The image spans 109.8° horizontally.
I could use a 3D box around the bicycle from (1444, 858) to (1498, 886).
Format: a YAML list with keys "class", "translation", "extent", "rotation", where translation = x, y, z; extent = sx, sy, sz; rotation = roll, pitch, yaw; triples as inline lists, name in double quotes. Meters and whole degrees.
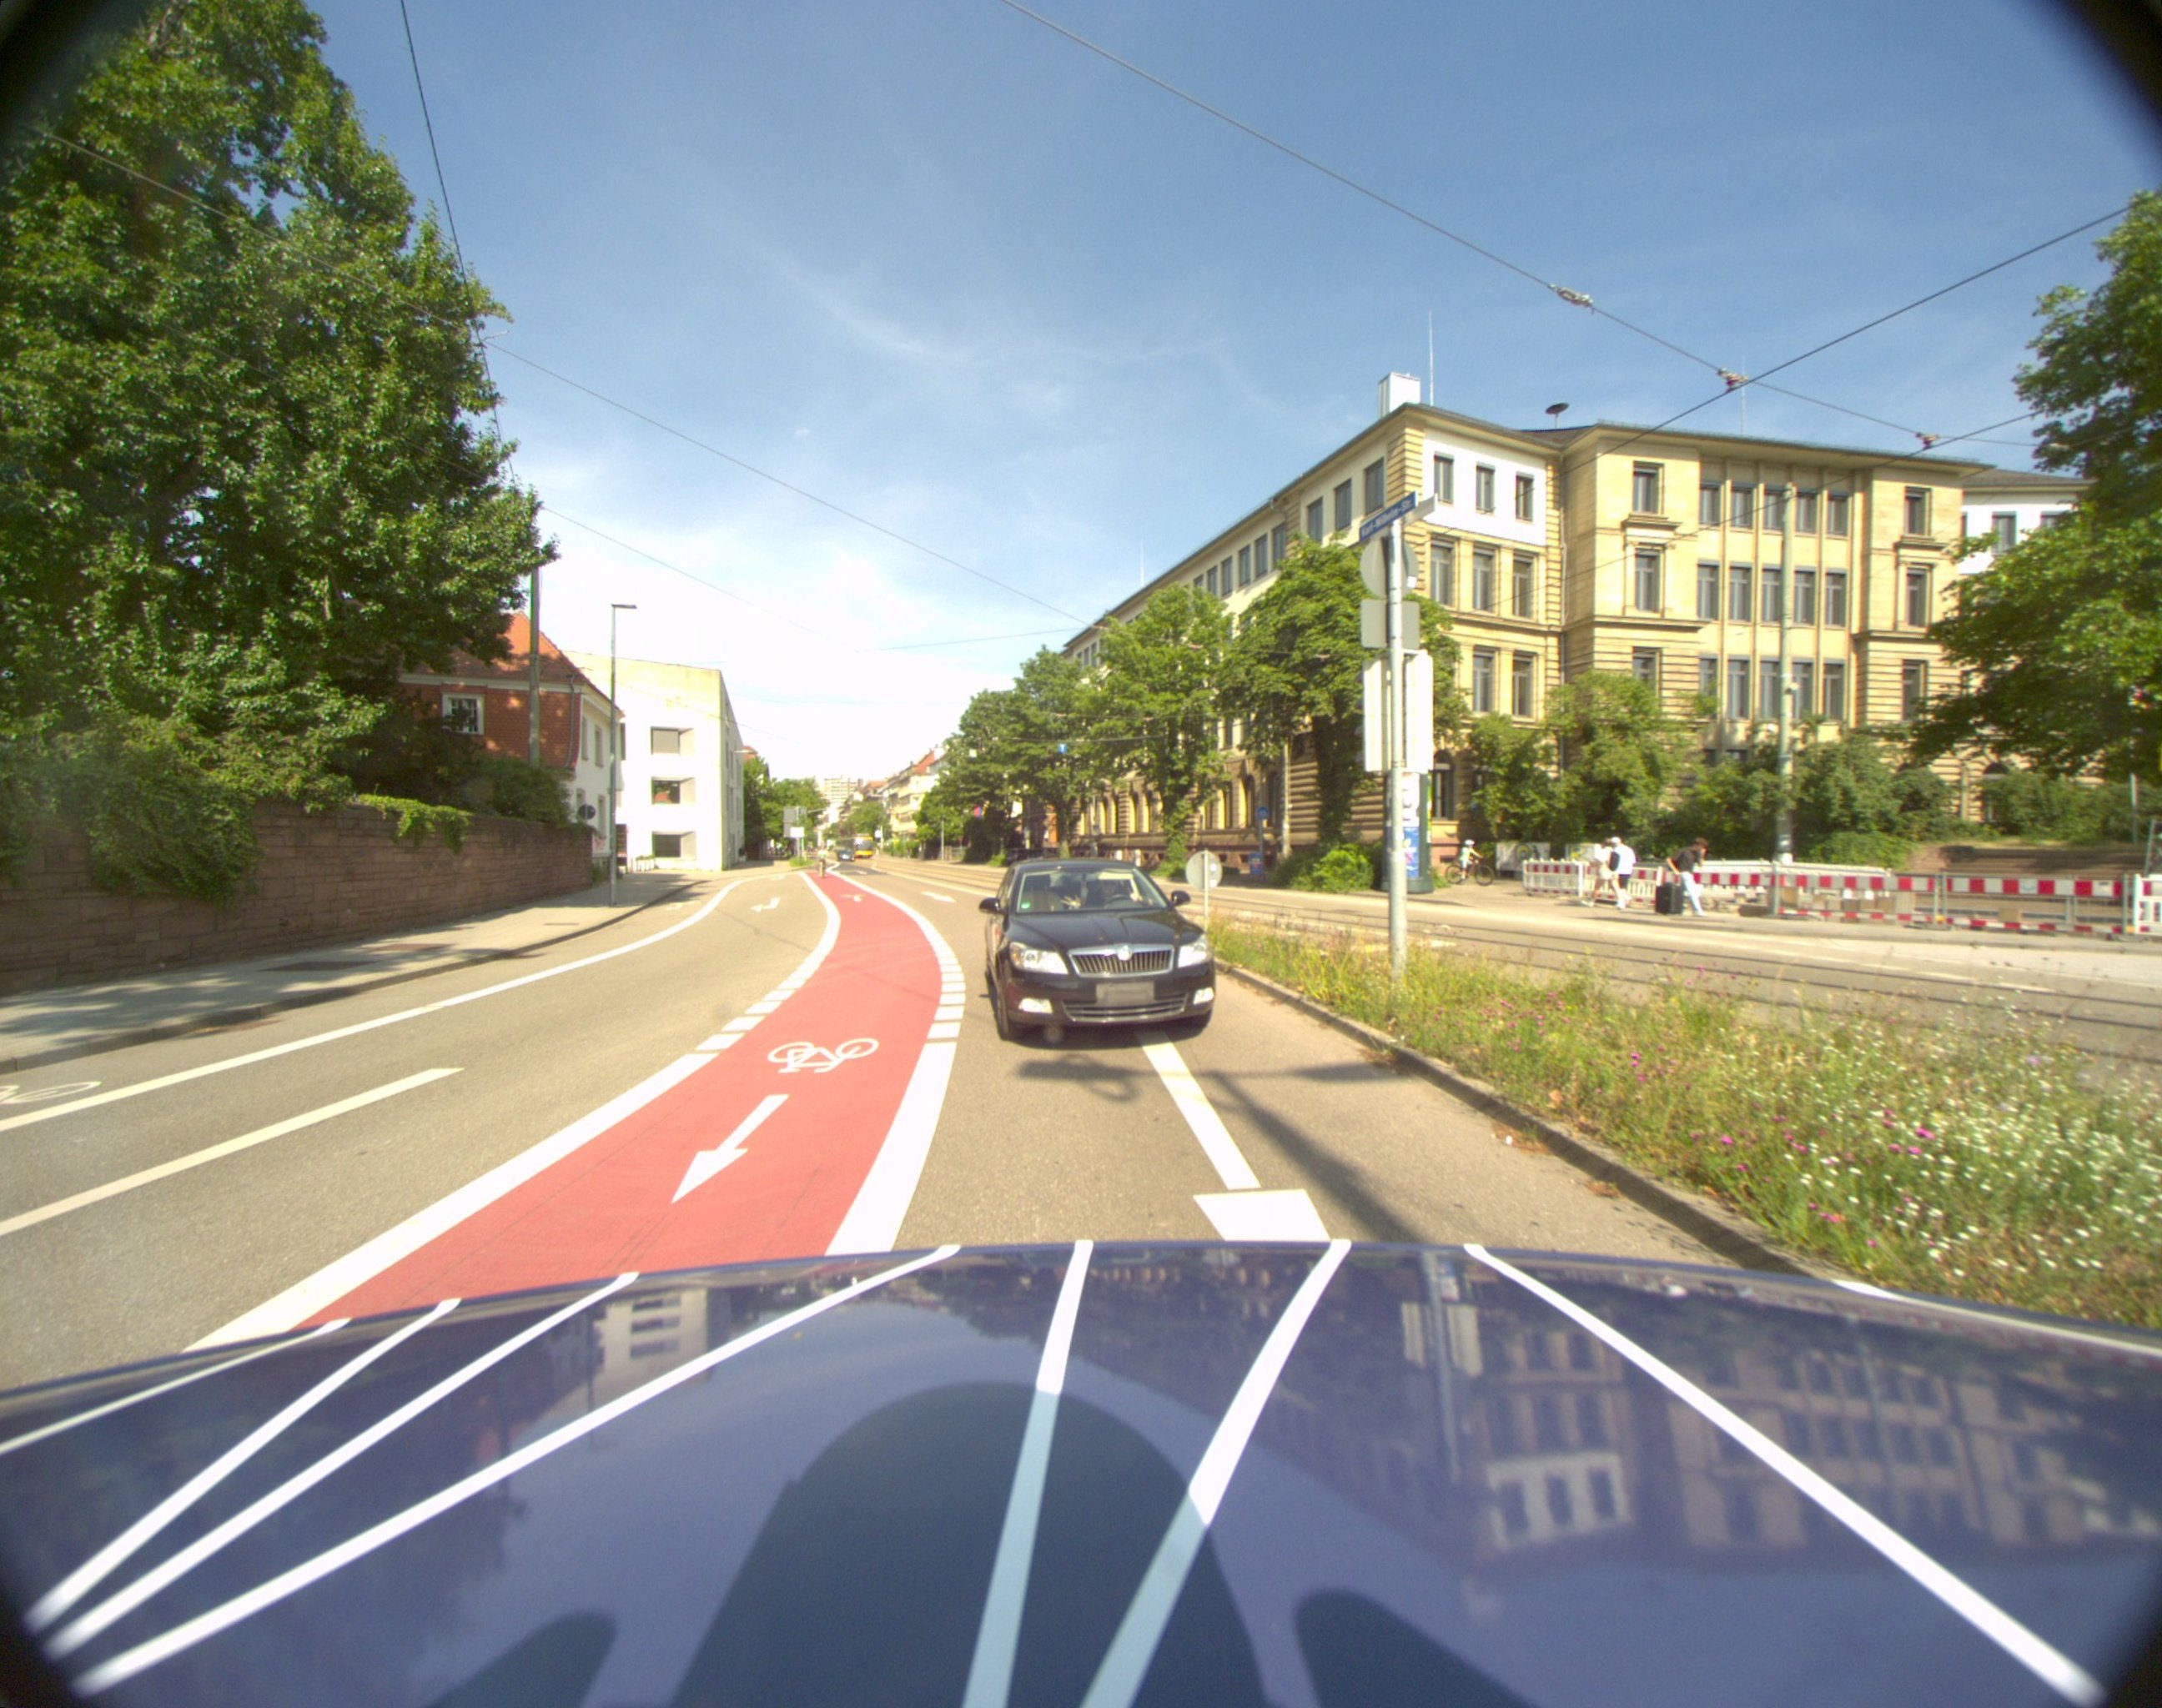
- class: "bicycle"
  translation: [14.300, 0.649, 27.918]
  extent: [0.702, 0.941, 1.662]
  rotation: [-1, 1, -26]

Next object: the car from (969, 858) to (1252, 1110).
- class: "car"
  translation: [-0.127, 0.849, 7.397]
  extent: [1.865, 1.510, 4.822]
  rotation: [0, 1, -9]

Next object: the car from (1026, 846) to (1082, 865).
- class: "car"
  translation: [-2.155, 0.095, 59.935]
  extent: [4.005, 1.455, 1.996]
  rotation: [0, 1, -22]

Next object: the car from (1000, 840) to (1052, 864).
- class: "car"
  translation: [-4.696, -0.214, 64.940]
  extent: [4.005, 2.002, 1.996]
  rotation: [0, 1, -22]

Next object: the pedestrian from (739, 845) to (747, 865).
- class: "pedestrian"
  translation: [-27.014, 0.067, 60.791]
  extent: [0.550, 1.559, 0.929]
  rotation: [-1, 1, -22]

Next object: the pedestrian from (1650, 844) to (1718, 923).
- class: "pedestrian"
  translation: [12.964, 0.612, 16.365]
  extent: [0.938, 1.646, 0.845]
  rotation: [0, 1, 22]

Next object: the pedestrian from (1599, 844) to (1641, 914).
- class: "pedestrian"
  translation: [13.701, 0.604, 19.321]
  extent: [0.586, 1.740, 0.743]
  rotation: [-1, 2, -44]

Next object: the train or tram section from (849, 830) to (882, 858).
- class: "train or tram section"
  translation: [-31.433, -1.453, 110.566]
  extent: [3.219, 3.838, 14.559]
  rotation: [0, 1, -21]

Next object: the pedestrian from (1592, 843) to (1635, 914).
- class: "pedestrian"
  translation: [13.235, 0.588, 18.893]
  extent: [0.586, 1.740, 0.743]
  rotation: [-1, 2, -43]

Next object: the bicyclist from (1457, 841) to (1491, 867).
- class: "bicyclist"
  translation: [14.374, 0.002, 27.818]
  extent: [0.684, 0.922, 0.867]
  rotation: [-1, 1, -25]

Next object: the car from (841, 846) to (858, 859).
- class: "car"
  translation: [-26.015, -0.181, 85.284]
  extent: [1.804, 1.368, 4.269]
  rotation: [0, 1, -17]

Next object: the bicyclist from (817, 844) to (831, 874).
- class: "bicyclist"
  translation: [-13.627, 0.266, 40.295]
  extent: [0.589, 1.539, 0.930]
  rotation: [-3, 2, -18]

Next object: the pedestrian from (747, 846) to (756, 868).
- class: "pedestrian"
  translation: [-26.477, 0.239, 61.043]
  extent: [0.651, 1.697, 0.710]
  rotation: [-1, 1, -22]

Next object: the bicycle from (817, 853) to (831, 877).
- class: "bicycle"
  translation: [-13.598, 0.546, 40.178]
  extent: [0.687, 1.215, 2.182]
  rotation: [0, 1, -19]
